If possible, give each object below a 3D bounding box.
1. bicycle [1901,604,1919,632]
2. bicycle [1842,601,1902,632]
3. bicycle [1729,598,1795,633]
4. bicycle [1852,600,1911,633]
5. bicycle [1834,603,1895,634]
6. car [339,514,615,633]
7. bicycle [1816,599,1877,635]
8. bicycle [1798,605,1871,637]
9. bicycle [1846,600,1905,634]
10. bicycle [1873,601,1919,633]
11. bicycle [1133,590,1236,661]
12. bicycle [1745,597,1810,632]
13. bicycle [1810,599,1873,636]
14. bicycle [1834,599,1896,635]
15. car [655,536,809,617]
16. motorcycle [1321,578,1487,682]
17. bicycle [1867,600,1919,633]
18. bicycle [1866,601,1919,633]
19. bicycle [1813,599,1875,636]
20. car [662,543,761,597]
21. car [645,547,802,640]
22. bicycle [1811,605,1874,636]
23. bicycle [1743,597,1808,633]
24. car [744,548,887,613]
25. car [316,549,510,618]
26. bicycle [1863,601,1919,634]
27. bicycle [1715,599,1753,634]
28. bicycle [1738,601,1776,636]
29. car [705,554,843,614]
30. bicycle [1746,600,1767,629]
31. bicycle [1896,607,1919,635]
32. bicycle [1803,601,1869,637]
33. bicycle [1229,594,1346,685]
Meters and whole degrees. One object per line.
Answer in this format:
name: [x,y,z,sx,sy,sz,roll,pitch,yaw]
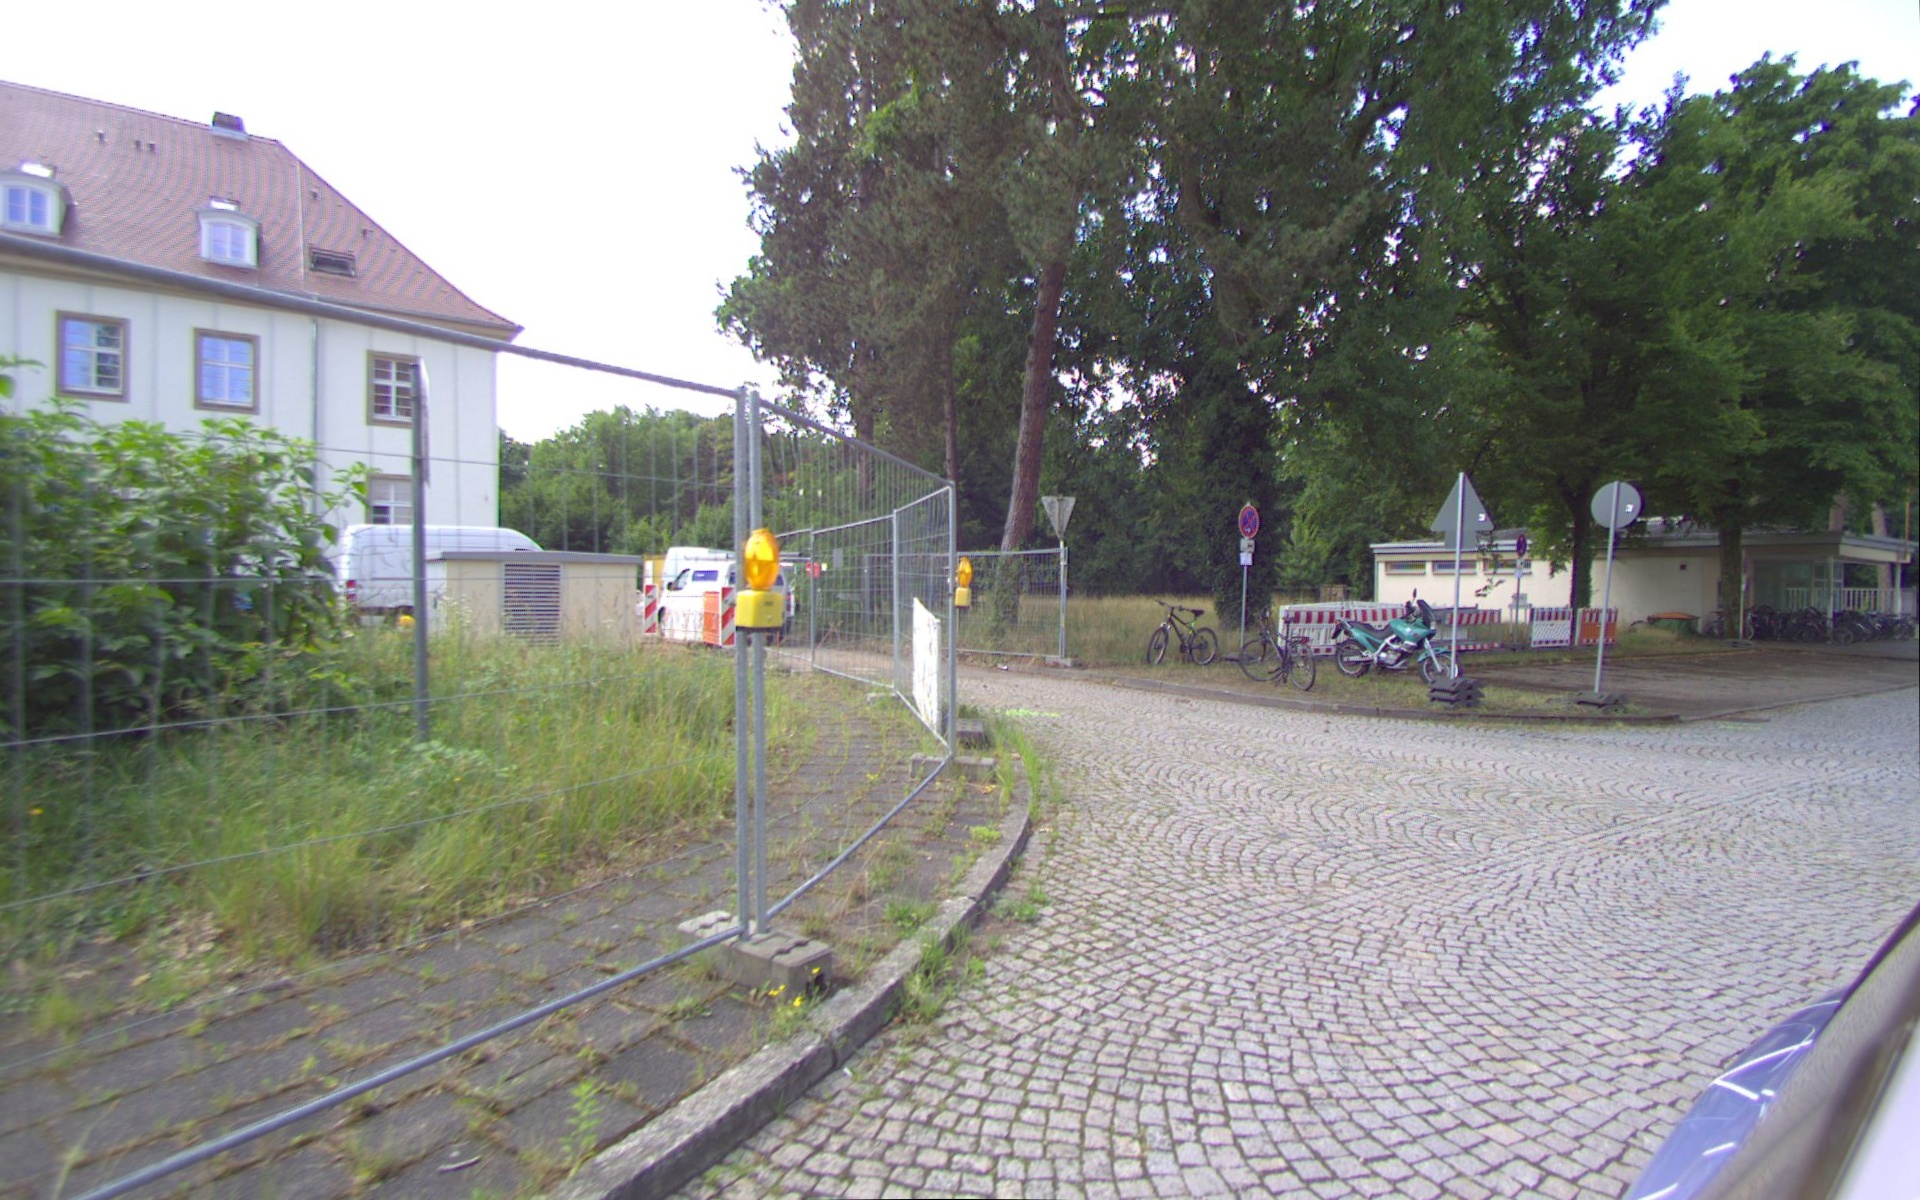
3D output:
bicycle: [37.365,0.702,39.313,1.145,1.076,0.283,1,0,34]
bicycle: [34.031,0.592,37.768,0.320,1.063,1.593,1,2,-43]
bicycle: [28.910,0.543,36.505,0.597,1.179,1.745,1,2,-40]
bicycle: [34.931,0.630,38.374,0.320,1.155,1.615,1,2,-43]
bicycle: [33.518,0.671,37.511,1.628,1.063,0.329,3,2,40]
car: [-11.542,-0.582,24.434,5.796,2.588,2.000,0,0,-34]
bicycle: [32.304,0.617,36.886,1.629,1.204,0.413,4,2,42]
bicycle: [30.384,0.710,35.174,1.728,0.988,0.752,3,2,25]
bicycle: [34.381,0.633,38.011,0.320,1.155,1.593,1,2,-43]
bicycle: [36.574,0.644,39.300,0.350,1.155,1.615,1,2,-43]
bicycle: [3.969,0.452,17.826,1.868,1.184,0.644,2,0,-34]
bicycle: [30.419,0.537,37.681,0.597,1.179,1.745,1,2,-40]
bicycle: [31.417,0.603,36.096,1.628,1.204,0.466,3,2,41]
bicycle: [33.140,0.614,37.073,1.629,1.204,0.491,4,2,42]
car: [-7.963,-0.759,36.177,1.978,2.611,6.369,0,0,24]
motorcycle: [6.967,0.427,16.005,0.743,1.504,2.281,1,1,-40]
bicycle: [35.723,0.636,38.586,0.320,1.155,1.615,1,2,-43]
bicycle: [36.019,0.646,38.957,0.350,1.155,1.615,1,2,-43]
bicycle: [31.799,0.619,36.427,1.629,1.204,0.413,4,2,42]
car: [-10.856,-1.230,43.844,2.170,2.122,6.162,0,0,-34]
car: [-5.610,-0.163,23.539,1.870,1.945,4.875,2,0,-35]
bicycle: [31.006,0.710,35.578,1.618,0.988,0.320,3,2,25]
bicycle: [29.799,0.539,36.996,0.597,1.179,1.745,1,2,-40]
car: [-4.337,-0.547,31.143,1.980,1.848,4.829,0,0,27]
car: [-15.843,-0.443,29.391,4.781,1.848,2.000,0,0,-34]
bicycle: [35.387,0.637,38.407,0.320,1.155,1.615,1,2,-43]
bicycle: [26.440,0.556,34.546,1.605,1.130,0.598,1,2,-37]
bicycle: [26.824,0.601,34.048,1.605,1.130,0.598,1,2,-37]
car: [-6.007,-0.484,33.331,1.980,1.848,4.829,0,0,27]
bicycle: [30.769,0.556,39.111,0.478,1.089,1.655,3,2,42]
bicycle: [37.641,0.825,39.650,1.393,1.059,0.336,1,0,28]
bicycle: [29.844,0.649,34.499,1.675,1.122,0.333,3,2,41]
bicycle: [4.757,0.539,14.859,0.642,1.212,1.909,1,1,-17]
